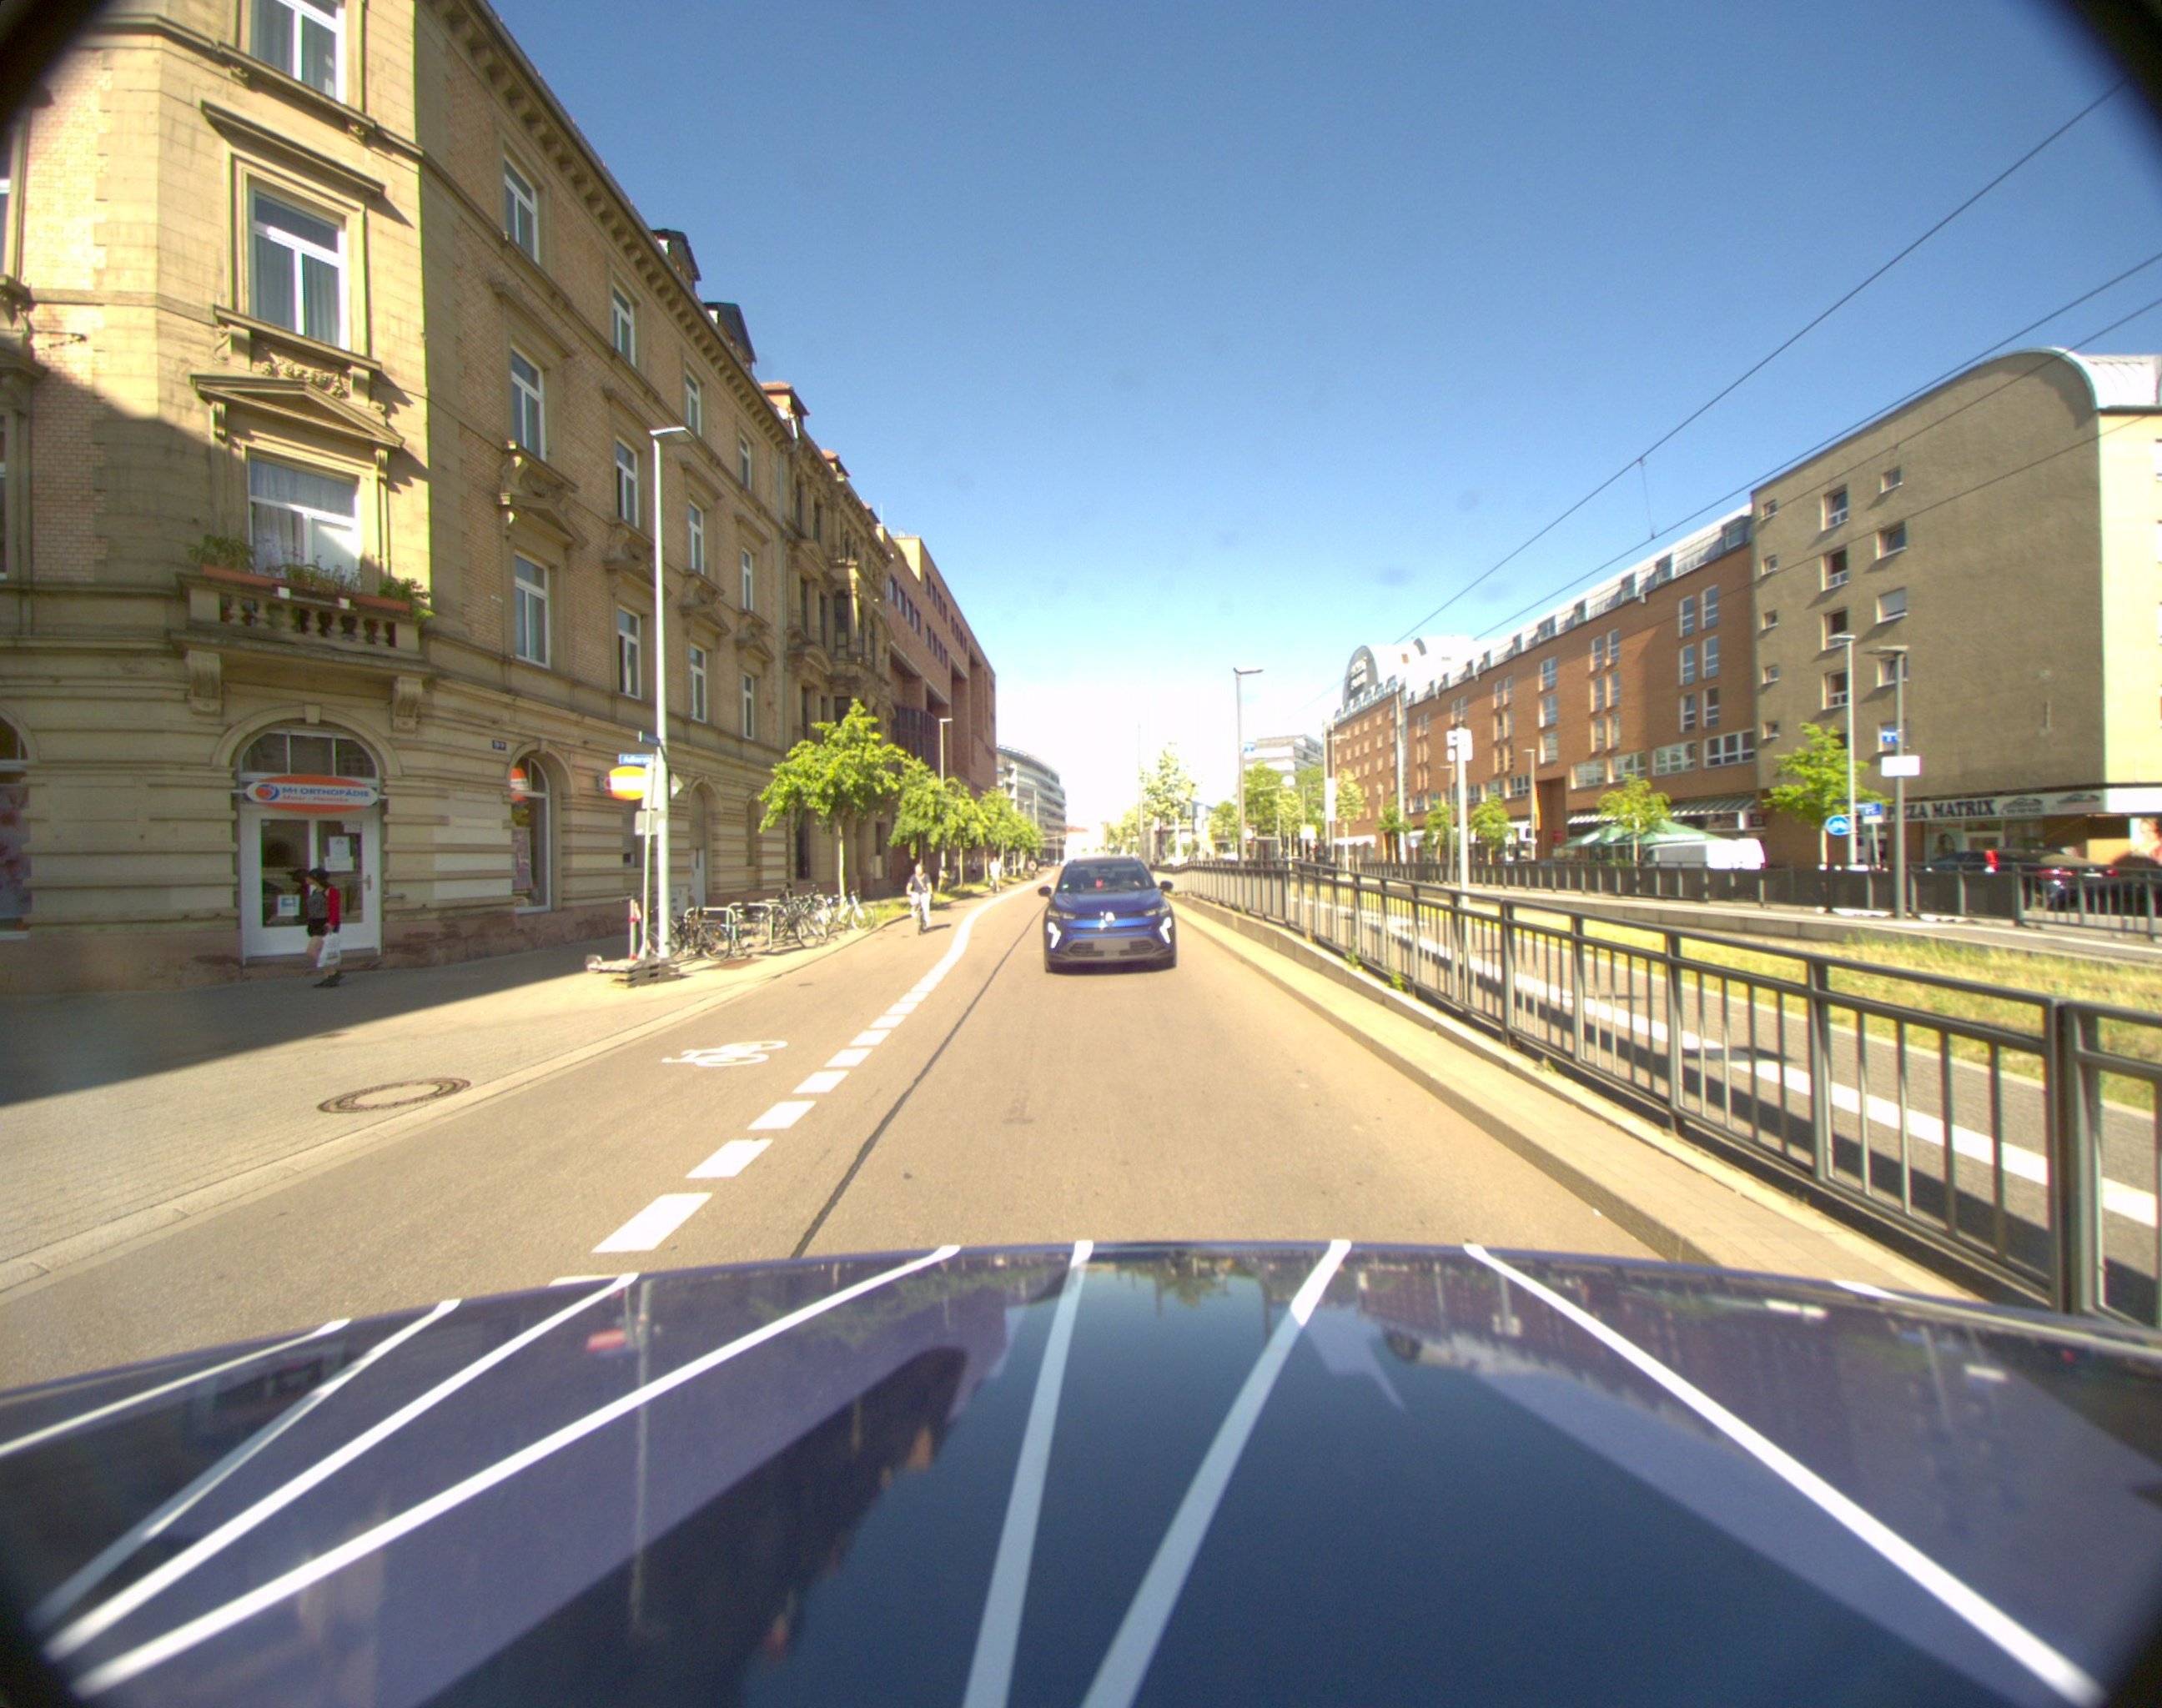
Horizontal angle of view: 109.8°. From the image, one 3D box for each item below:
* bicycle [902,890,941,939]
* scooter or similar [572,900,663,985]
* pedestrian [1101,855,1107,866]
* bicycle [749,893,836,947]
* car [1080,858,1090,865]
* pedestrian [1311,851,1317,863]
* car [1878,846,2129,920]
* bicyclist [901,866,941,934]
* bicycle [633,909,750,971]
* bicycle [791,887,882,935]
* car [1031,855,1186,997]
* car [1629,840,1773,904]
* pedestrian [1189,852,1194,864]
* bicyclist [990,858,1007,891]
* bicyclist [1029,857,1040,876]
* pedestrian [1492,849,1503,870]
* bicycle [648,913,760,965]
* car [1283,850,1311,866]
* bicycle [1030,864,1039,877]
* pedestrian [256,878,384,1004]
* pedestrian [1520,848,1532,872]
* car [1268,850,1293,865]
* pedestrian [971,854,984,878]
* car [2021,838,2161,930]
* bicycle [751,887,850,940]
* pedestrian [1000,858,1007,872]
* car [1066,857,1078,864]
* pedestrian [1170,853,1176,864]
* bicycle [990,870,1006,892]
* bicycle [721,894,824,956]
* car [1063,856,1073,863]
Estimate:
[{"bbox_3d":[-3.790,1.427,18.106,0.558,1.021,1.507,-3,0,0],"label":"bicycle"},{"bbox_3d":[-6.763,1.279,11.090,1.113,1.183,0.419,0,0,8],"label":"scooter or similar"},{"bbox_3d":[3.208,0.950,104.521,0.774,1.478,0.686,-1,0,1],"label":"pedestrian"},{"bbox_3d":[-6.124,1.397,16.192,1.603,1.039,0.607,1,0,4],"label":"bicycle"},{"bbox_3d":[0.919,1.698,172.397,1.882,1.455,4.002,-2,1,8],"label":"car"},{"bbox_3d":[33.996,0.444,110.872,0.716,1.745,0.779,-1,0,1],"label":"pedestrian"},{"bbox_3d":[24.152,0.696,20.159,1.819,1.749,4.000,-1,0,0],"label":"car"},{"bbox_3d":[-3.809,1.082,18.140,0.659,1.528,0.909,-3,0,0],"label":"bicyclist"},{"bbox_3d":[-6.391,1.399,12.496,1.673,0.938,0.607,0,0,8],"label":"bicycle"},{"bbox_3d":[-6.015,1.402,18.789,2.001,1.086,0.846,1,0,-9],"label":"bicycle"},{"bbox_3d":[0.361,0.871,11.157,1.802,1.596,3.999,-2,1,1],"label":"car"},{"bbox_3d":[25.354,0.674,31.406,1.997,2.356,5.649,-1,0,8],"label":"car"},{"bbox_3d":[15.114,0.508,104.219,0.609,1.560,0.909,-2,0,11],"label":"pedestrian"},{"bbox_3d":[-4.479,1.087,41.182,0.684,1.718,0.909,-3,0,3],"label":"bicyclist"},{"bbox_3d":[-4.137,1.116,67.764,0.755,1.607,0.762,-3,0,4],"label":"bicyclist"},{"bbox_3d":[35.578,0.471,64.930,0.622,1.830,0.644,-1,1,-1],"label":"pedestrian"},{"bbox_3d":[-6.520,1.463,13.164,1.673,0.816,0.607,0,0,7],"label":"bicycle"},{"bbox_3d":[24.138,0.447,85.225,1.998,1.674,3.999,-2,1,1],"label":"car"},{"bbox_3d":[-4.147,1.481,67.772,0.578,1.090,1.507,-3,0,3],"label":"bicycle"},{"bbox_3d":[-9.909,1.093,9.926,0.710,1.533,0.928,-1,1,17],"label":"pedestrian"},{"bbox_3d":[35.087,0.475,59.904,0.622,1.830,0.645,-1,1,1],"label":"pedestrian"},{"bbox_3d":[25.002,0.425,95.334,1.998,1.674,3.999,-2,1,1],"label":"car"},{"bbox_3d":[-8.030,0.938,58.885,0.790,1.872,1.106,-1,1,0],"label":"pedestrian"},{"bbox_3d":[18.469,0.476,12.211,1.821,1.507,4.000,-1,0,1],"label":"car"},{"bbox_3d":[-6.444,1.350,17.508,1.999,1.121,0.710,1,0,2],"label":"bicycle"},{"bbox_3d":[-8.337,1.195,81.617,0.633,1.478,0.736,-1,1,0],"label":"pedestrian"},{"bbox_3d":[-1.962,1.379,173.726,2.120,1.547,4.003,-1,0,9],"label":"car"},{"bbox_3d":[12.579,0.585,103.766,0.608,1.560,0.728,-1,0,21],"label":"pedestrian"},{"bbox_3d":[-4.460,1.466,41.104,0.578,1.090,1.507,-3,0,2],"label":"bicycle"},{"bbox_3d":[-5.921,1.352,14.633,1.727,1.094,0.607,1,0,4],"label":"bicycle"},{"bbox_3d":[-3.315,1.319,189.541,1.882,1.455,4.001,-2,1,7],"label":"car"}]
